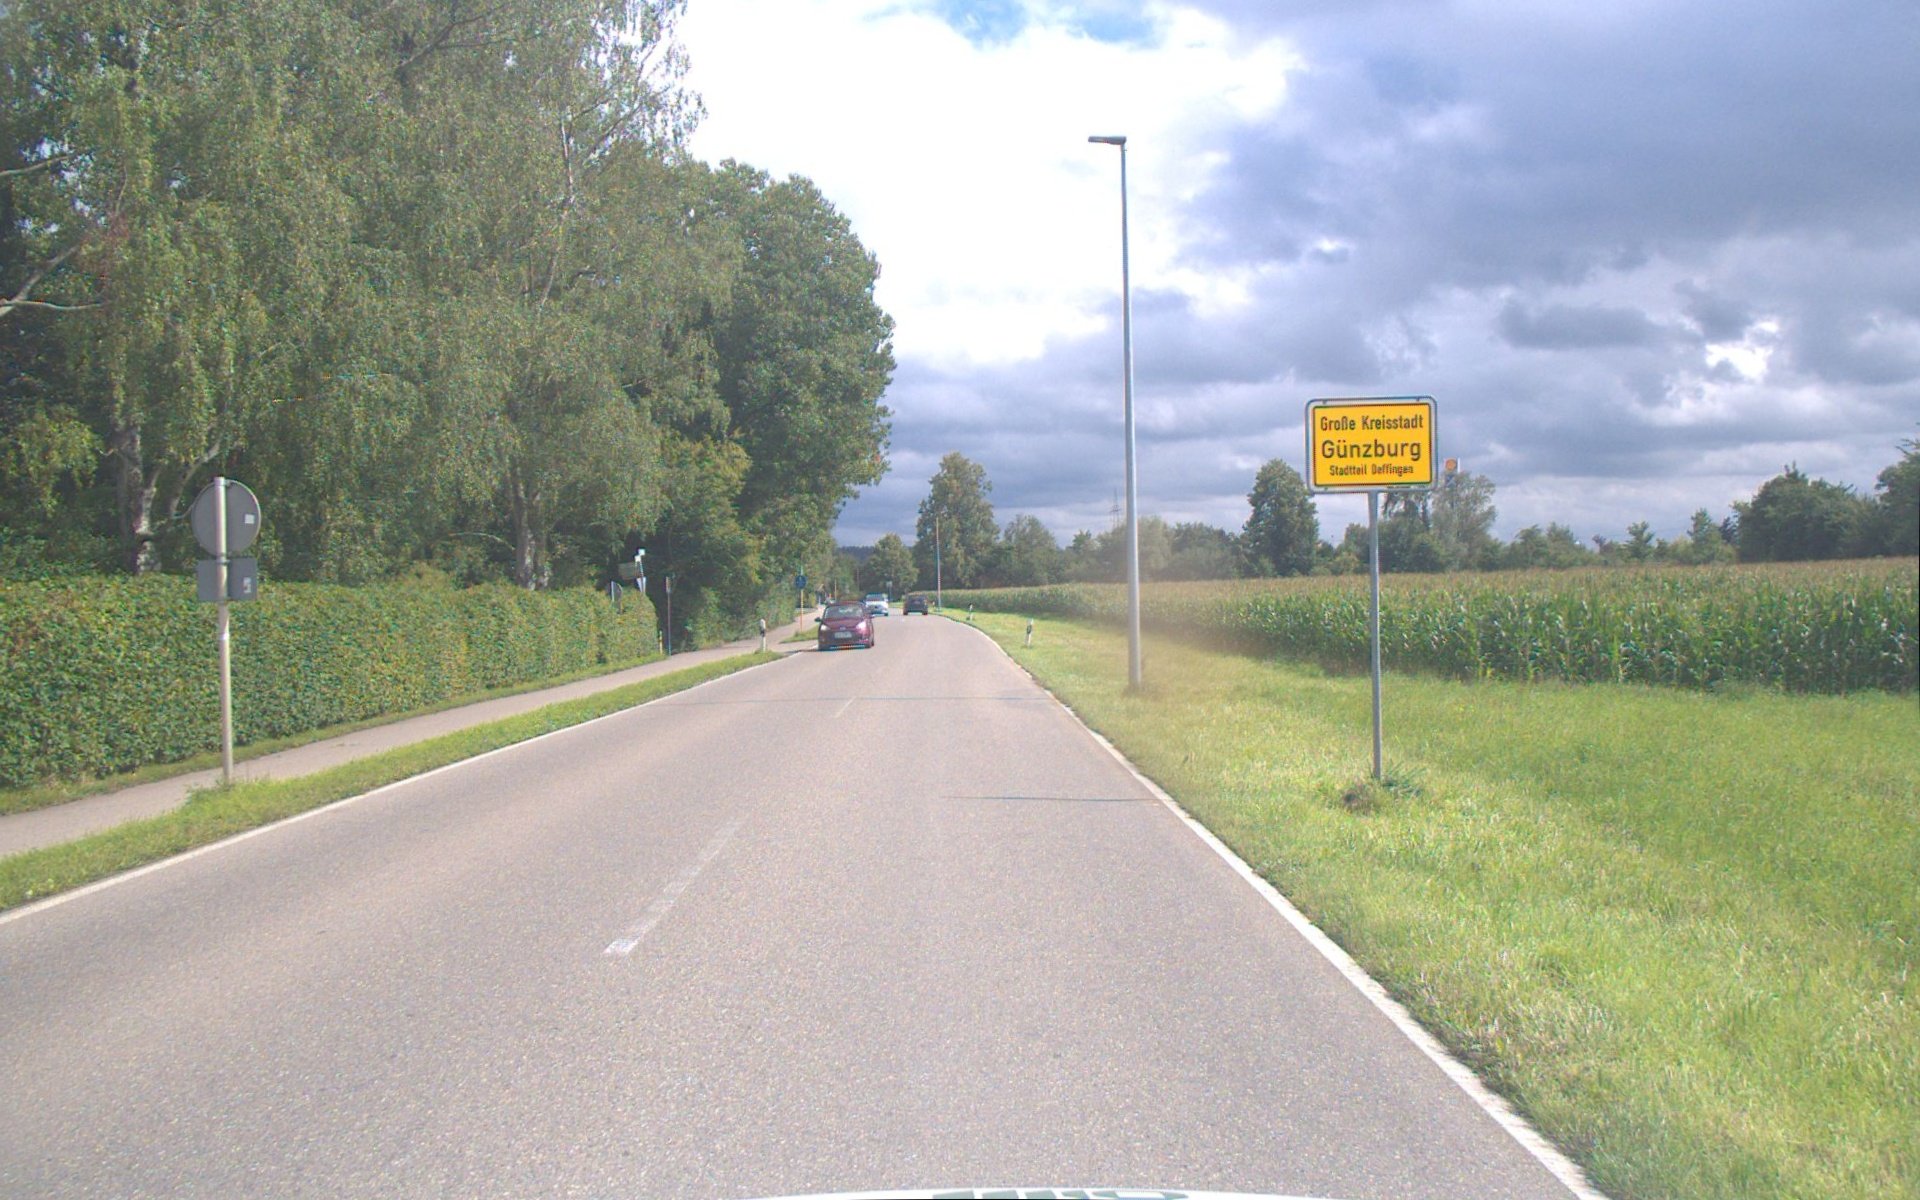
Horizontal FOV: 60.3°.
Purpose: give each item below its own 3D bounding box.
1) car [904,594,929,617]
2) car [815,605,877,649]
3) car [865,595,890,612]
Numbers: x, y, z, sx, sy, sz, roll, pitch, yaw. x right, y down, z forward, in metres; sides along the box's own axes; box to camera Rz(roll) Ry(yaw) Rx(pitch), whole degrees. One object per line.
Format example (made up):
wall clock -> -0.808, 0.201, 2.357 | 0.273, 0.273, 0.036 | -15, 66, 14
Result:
car -> -3.438, 0.439, 131.366 | 1.868, 1.695, 3.999 | -2, 0, -1
car -> -3.580, 0.842, 52.459 | 1.710, 1.243, 3.543 | -2, 0, -1
car -> -6.358, 0.264, 127.773 | 1.710, 1.243, 3.543 | -2, 0, -1
